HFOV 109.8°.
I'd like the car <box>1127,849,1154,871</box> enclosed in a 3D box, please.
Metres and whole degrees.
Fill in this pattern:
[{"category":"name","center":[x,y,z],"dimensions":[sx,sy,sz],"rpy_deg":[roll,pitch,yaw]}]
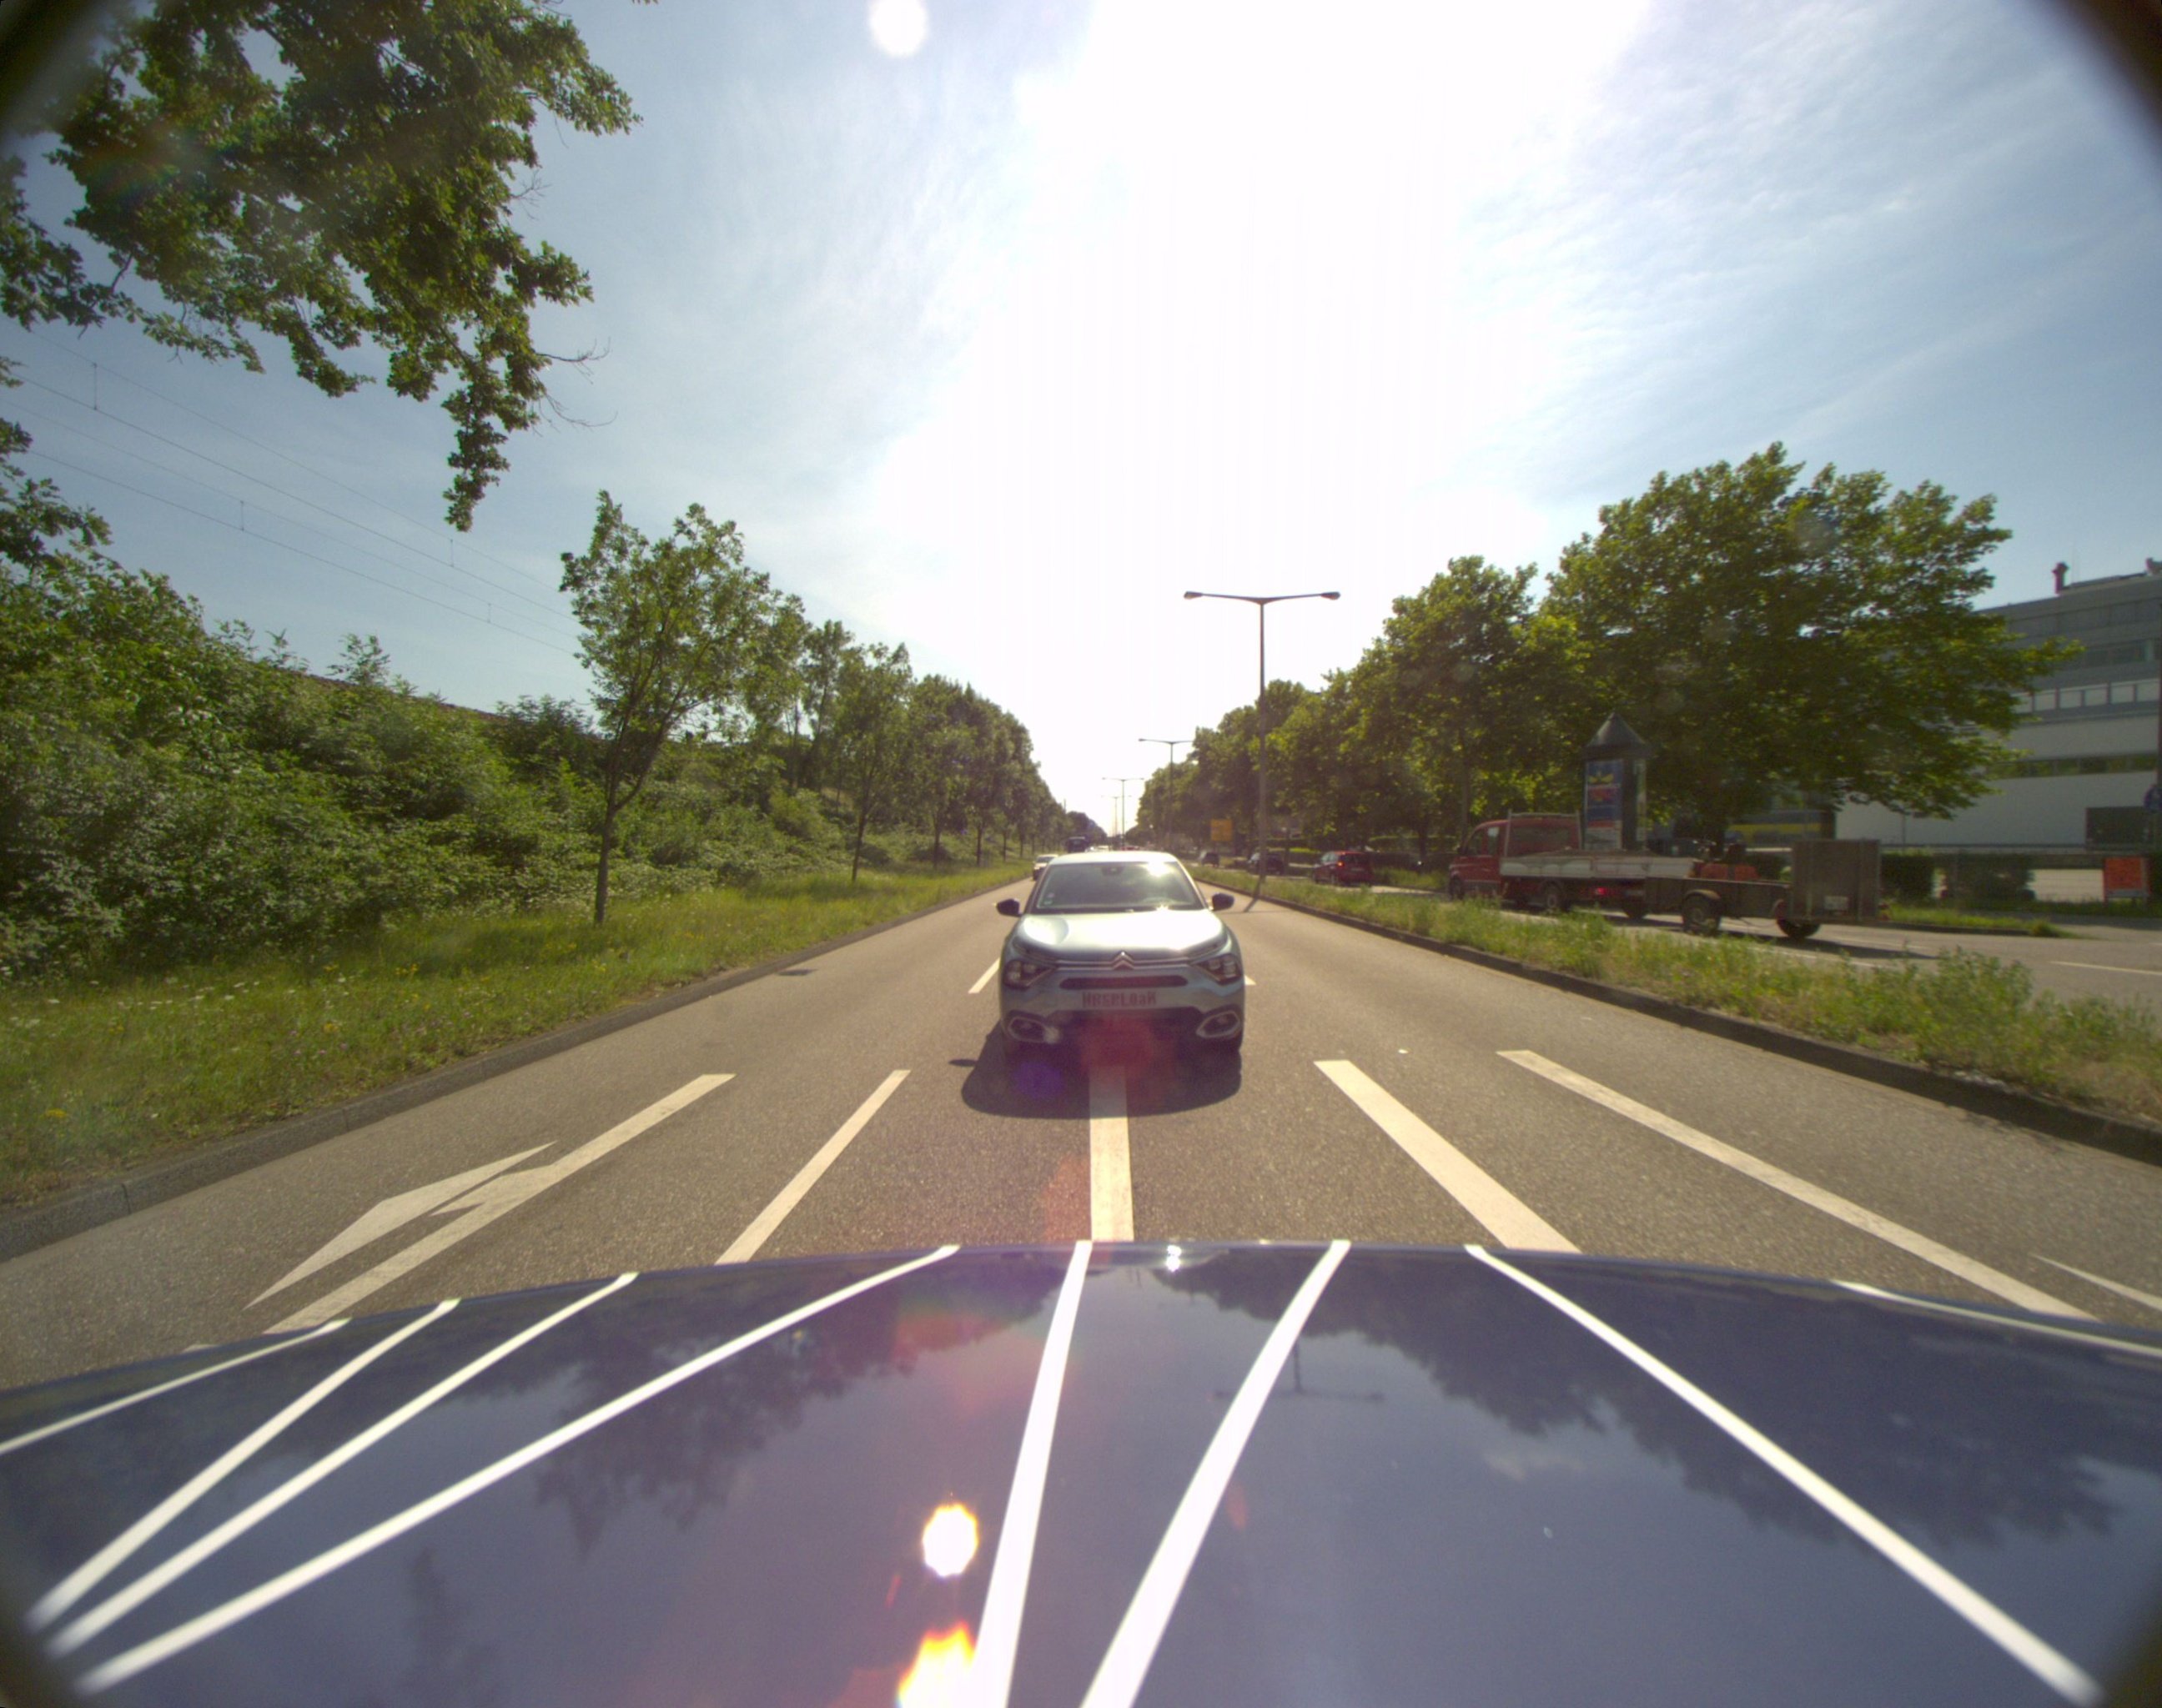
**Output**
[{"category":"car","center":[4.047,0.380,52.392],"dimensions":[1.730,1.354,4.068],"rpy_deg":[-2,1,3]}]

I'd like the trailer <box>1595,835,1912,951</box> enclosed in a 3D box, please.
[{"category":"trailer","center":[11.317,0.564,13.267],"dimensions":[2.067,1.706,3.990],"rpy_deg":[-1,1,1]}]

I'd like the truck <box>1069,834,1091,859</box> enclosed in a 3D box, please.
[{"category":"truck","center":[-0.040,-0.961,102.693],"dimensions":[2.775,3.248,7.482],"rpy_deg":[0,1,1]}]

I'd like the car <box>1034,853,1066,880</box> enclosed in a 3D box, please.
[{"category":"car","center":[-1.823,0.696,44.581],"dimensions":[1.705,1.429,3.677],"rpy_deg":[-2,1,-2]}]

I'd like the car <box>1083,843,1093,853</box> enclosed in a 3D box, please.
[{"category":"car","center":[1.358,-1.183,149.463],"dimensions":[1.998,2.002,4.000],"rpy_deg":[-1,1,1]}]

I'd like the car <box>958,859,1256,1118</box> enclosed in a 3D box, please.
[{"category":"car","center":[0.244,0.856,7.060],"dimensions":[1.826,1.521,4.752],"rpy_deg":[-1,0,2]}]

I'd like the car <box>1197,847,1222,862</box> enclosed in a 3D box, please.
[{"category":"car","center":[13.056,0.020,77.368],"dimensions":[1.844,1.414,4.221],"rpy_deg":[1,0,0]}]

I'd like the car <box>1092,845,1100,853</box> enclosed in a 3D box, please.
[{"category":"car","center":[3.887,-1.279,195.407],"dimensions":[1.998,2.002,4.000],"rpy_deg":[-1,1,1]}]

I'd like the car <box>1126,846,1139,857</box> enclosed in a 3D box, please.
[{"category":"car","center":[9.205,-0.452,135.630],"dimensions":[1.998,2.002,4.000],"rpy_deg":[-1,1,1]}]

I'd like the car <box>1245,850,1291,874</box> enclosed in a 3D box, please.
[{"category":"car","center":[12.155,0.498,49.652],"dimensions":[1.844,1.414,3.893],"rpy_deg":[0,1,-3]}]

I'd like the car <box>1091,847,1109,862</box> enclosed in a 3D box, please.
[{"category":"car","center":[2.000,0.063,79.224],"dimensions":[1.826,1.521,4.547],"rpy_deg":[-1,0,2]}]

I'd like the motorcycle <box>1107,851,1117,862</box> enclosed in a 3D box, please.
[{"category":"motorcycle","center":[3.683,0.295,91.267],"dimensions":[1.052,1.343,2.331],"rpy_deg":[-1,1,0]}]

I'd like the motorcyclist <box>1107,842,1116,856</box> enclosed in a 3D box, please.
[{"category":"motorcyclist","center":[3.693,-0.636,91.336],"dimensions":[1.066,1.689,1.042],"rpy_deg":[-1,1,0]}]

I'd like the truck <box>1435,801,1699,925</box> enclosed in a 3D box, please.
[{"category":"truck","center":[11.440,0.153,18.865],"dimensions":[2.145,2.461,7.128],"rpy_deg":[-1,1,2]}]

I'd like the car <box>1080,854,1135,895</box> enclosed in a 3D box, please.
[{"category":"car","center":[0.994,0.752,29.927],"dimensions":[1.998,1.492,4.000],"rpy_deg":[-1,0,1]}]

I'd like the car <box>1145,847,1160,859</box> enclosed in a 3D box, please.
[{"category":"car","center":[11.743,-0.171,125.081],"dimensions":[1.998,2.002,4.000],"rpy_deg":[-1,1,1]}]

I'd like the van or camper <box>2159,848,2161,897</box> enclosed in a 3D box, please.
[{"category":"van or camper","center":[39.493,0.637,25.033],"dimensions":[2.004,1.682,4.500],"rpy_deg":[-1,1,-37]}]

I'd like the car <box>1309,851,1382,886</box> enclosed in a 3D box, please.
[{"category":"car","center":[11.500,0.613,33.268],"dimensions":[1.852,1.426,3.767],"rpy_deg":[0,0,0]}]
